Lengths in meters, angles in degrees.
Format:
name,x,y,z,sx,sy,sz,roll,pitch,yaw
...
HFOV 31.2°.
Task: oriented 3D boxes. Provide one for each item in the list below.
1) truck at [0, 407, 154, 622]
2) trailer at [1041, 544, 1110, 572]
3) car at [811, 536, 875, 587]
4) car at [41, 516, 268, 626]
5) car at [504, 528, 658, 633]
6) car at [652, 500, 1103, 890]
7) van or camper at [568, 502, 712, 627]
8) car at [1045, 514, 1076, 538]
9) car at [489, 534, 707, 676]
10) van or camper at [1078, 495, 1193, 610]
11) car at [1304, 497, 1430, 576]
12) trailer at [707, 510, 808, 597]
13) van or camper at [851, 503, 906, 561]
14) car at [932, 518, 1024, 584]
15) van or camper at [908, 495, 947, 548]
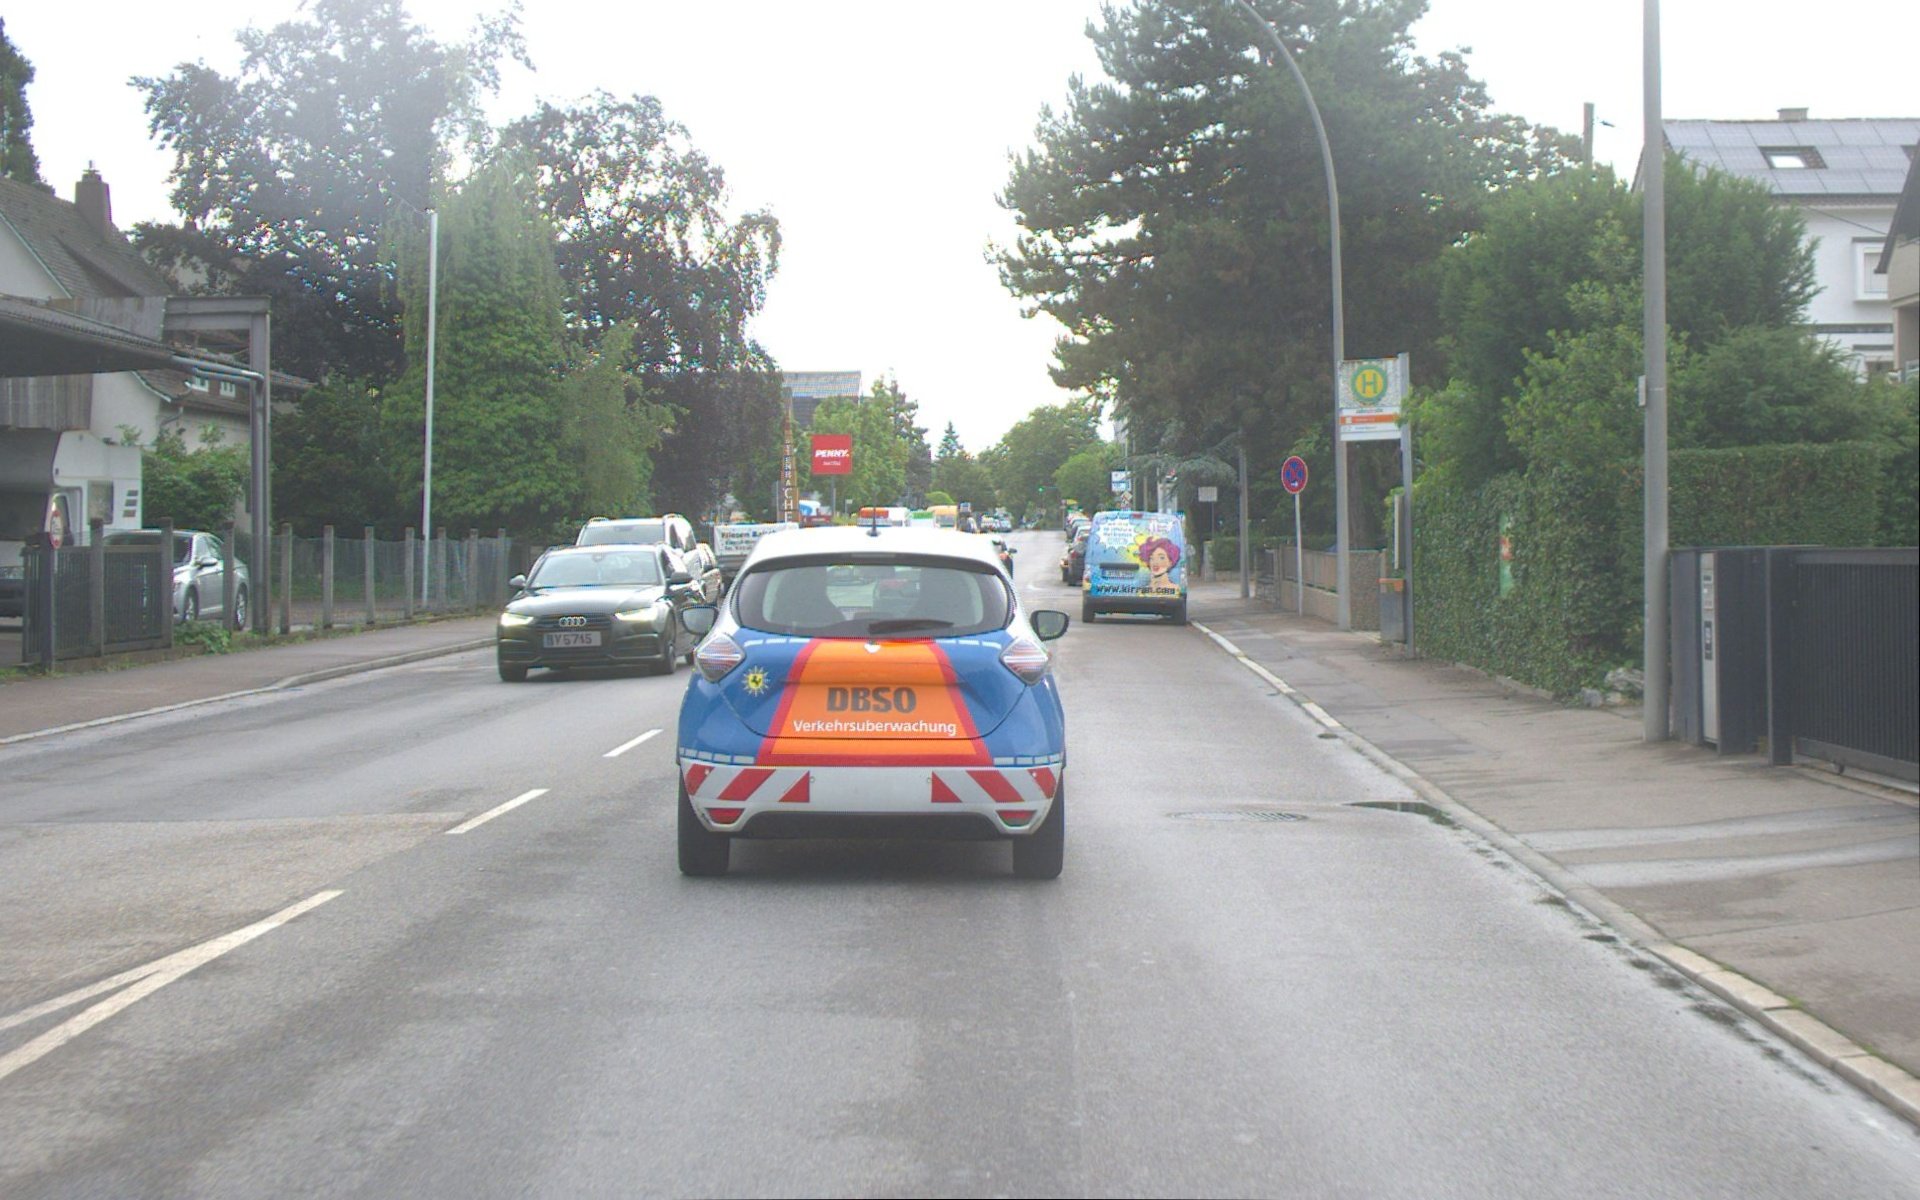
name,x,y,z,sx,sy,sz,roll,pitch,yaw
truck,-13.739,-1.216,50.038,2.394,2.917,5.957,2,0,1
trailer,3.347,-1.228,100.102,1.938,0.751,2.859,0,1,0
car,-3.993,-1.314,117.654,1.993,1.590,4.000,2,-1,0
car,-11.202,-0.400,48.143,1.936,1.439,4.782,1,0,2
car,-5.816,-0.268,53.148,1.742,1.475,4.183,-2,-1,2
car,-0.368,0.354,16.436,1.888,1.626,4.000,0,1,-1
van or camper,-5.578,-0.573,60.499,1.890,2.007,5.097,2,-1,1
car,6.778,-5.014,232.927,1.993,1.580,4.000,0,1,0
car,-3.997,0.084,38.619,1.742,1.446,4.542,2,-1,2
van or camper,2.928,-0.820,58.026,1.754,1.876,4.000,0,1,0
car,7.825,-1.235,66.357,1.993,1.481,4.000,0,1,1
trailer,-5.075,-1.140,86.705,2.220,2.007,4.436,2,-1,0
van or camper,-3.331,-2.816,141.503,2.161,2.345,4.334,0,1,0
car,0.465,-1.218,83.989,1.994,1.415,4.000,-2,2,3
van or camper,-1.685,-4.163,181.732,1.993,2.765,5.441,0,1,0
